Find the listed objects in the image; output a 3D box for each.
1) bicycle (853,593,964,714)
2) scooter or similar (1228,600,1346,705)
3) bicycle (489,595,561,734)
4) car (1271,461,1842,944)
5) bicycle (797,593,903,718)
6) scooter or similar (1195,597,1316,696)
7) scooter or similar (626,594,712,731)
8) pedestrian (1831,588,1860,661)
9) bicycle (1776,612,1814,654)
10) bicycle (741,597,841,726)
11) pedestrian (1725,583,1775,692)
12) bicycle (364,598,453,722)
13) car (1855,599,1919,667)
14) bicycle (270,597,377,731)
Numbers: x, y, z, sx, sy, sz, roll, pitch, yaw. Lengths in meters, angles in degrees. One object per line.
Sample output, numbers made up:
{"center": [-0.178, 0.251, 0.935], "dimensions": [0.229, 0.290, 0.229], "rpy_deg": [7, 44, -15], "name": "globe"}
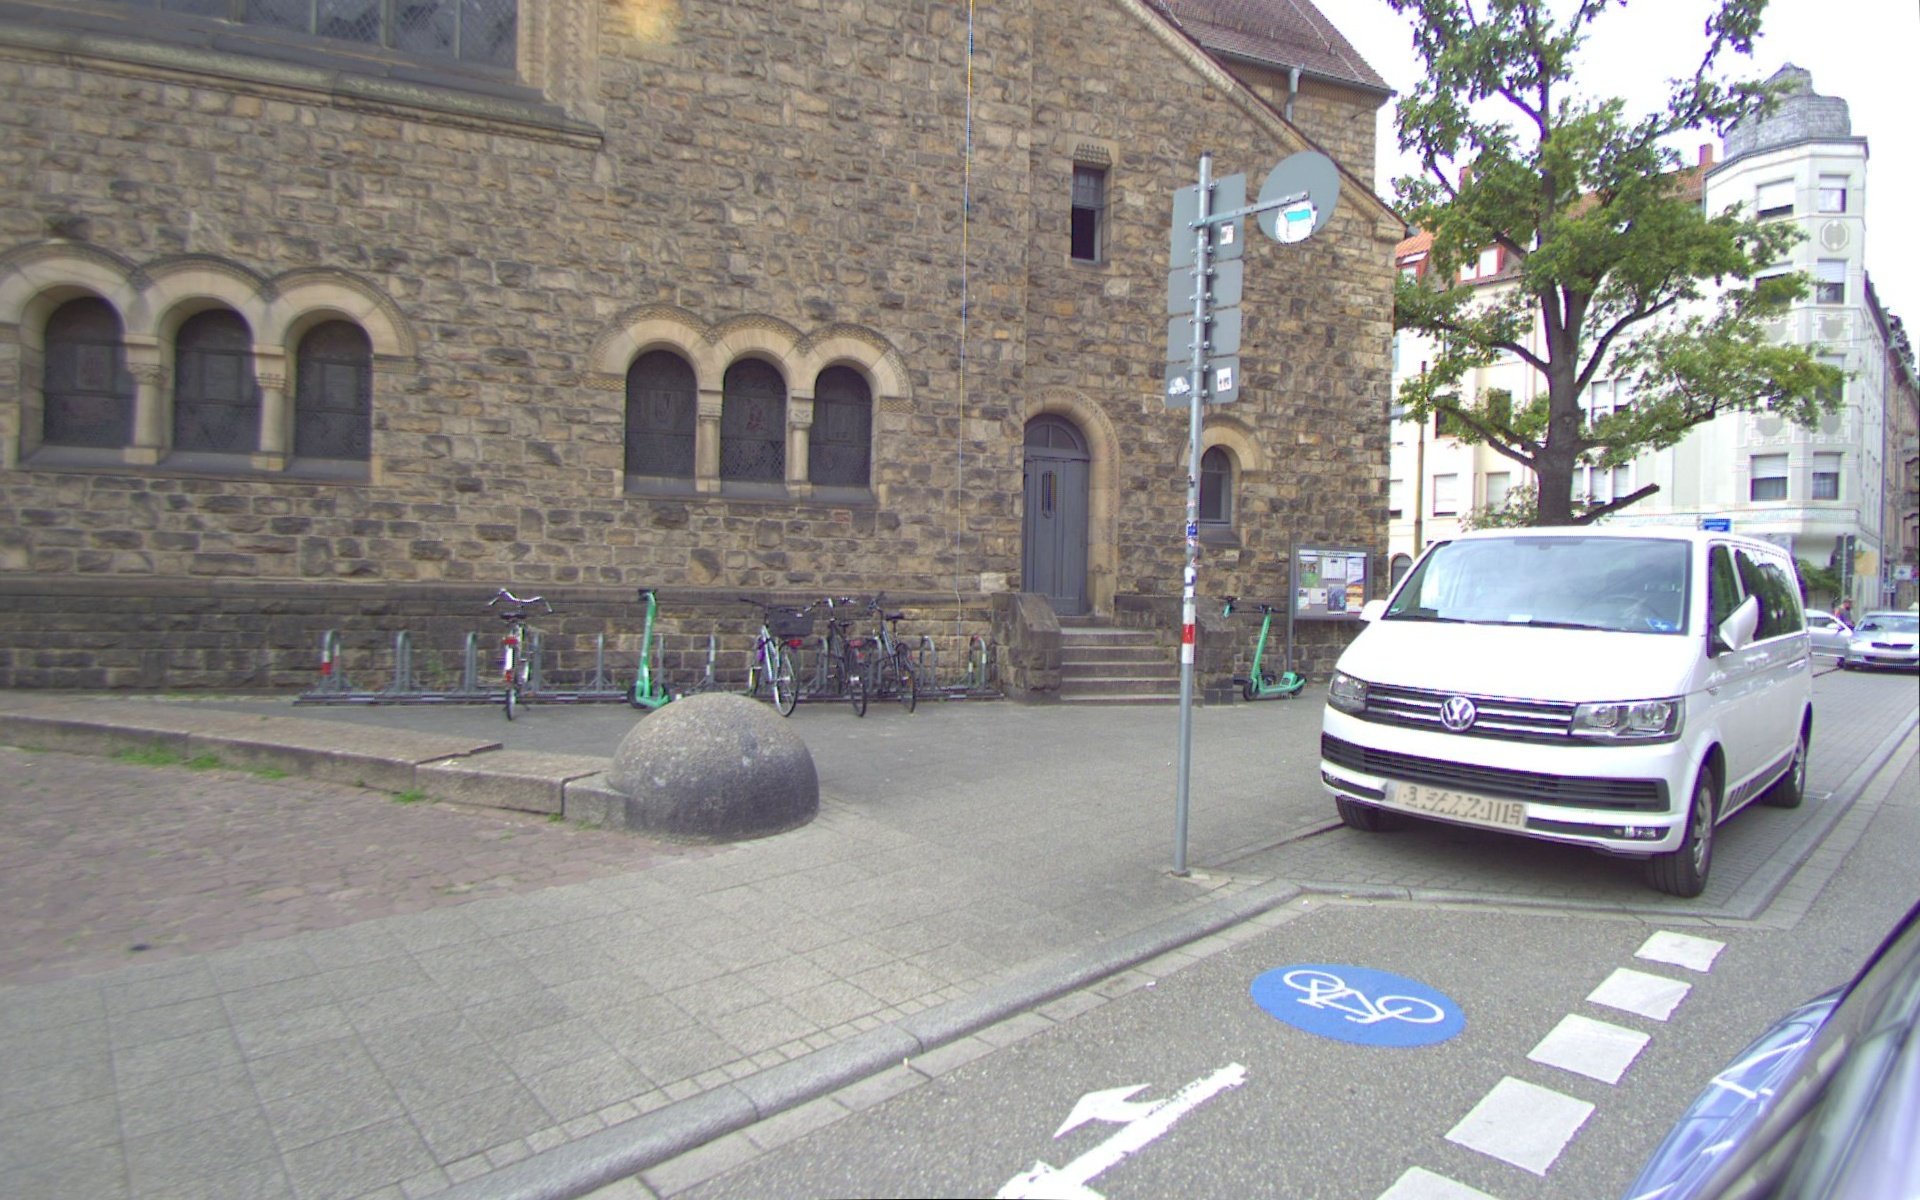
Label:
{"center": [-0.583, 0.512, 10.621], "dimensions": [0.534, 1.126, 1.786], "rpy_deg": [1, 1, -24], "name": "bicycle"}
{"center": [4.032, 0.625, 12.457], "dimensions": [1.413, 1.222, 0.547], "rpy_deg": [1, 1, -30], "name": "scooter or similar"}
{"center": [-4.061, 0.541, 9.431], "dimensions": [0.534, 1.126, 1.786], "rpy_deg": [1, 1, -24], "name": "bicycle"}
{"center": [4.290, 0.389, 6.788], "dimensions": [5.039, 2.054, 2.016], "rpy_deg": [0, 2, -45], "name": "car"}
{"center": [-1.159, 0.516, 10.349], "dimensions": [0.534, 1.126, 1.779], "rpy_deg": [1, 1, -24], "name": "bicycle"}
{"center": [3.832, 0.590, 13.112], "dimensions": [1.450, 1.222, 0.547], "rpy_deg": [1, 0, -23], "name": "scooter or similar"}
{"center": [-2.827, 0.541, 9.726], "dimensions": [0.534, 1.154, 1.786], "rpy_deg": [1, 1, -24], "name": "scooter or similar"}
{"center": [21.827, 0.589, 24.935], "dimensions": [0.403, 1.757, 0.468], "rpy_deg": [1, 0, -43], "name": "pedestrian"}
{"center": [23.194, 0.909, 28.099], "dimensions": [1.944, 1.119, 0.522], "rpy_deg": [2, 0, -42], "name": "bicycle"}
{"center": [-1.722, 0.561, 10.124], "dimensions": [0.534, 1.126, 1.786], "rpy_deg": [1, 1, -24], "name": "bicycle"}
{"center": [12.897, 0.595, 16.535], "dimensions": [0.504, 1.741, 0.527], "rpy_deg": [1, 0, 25], "name": "pedestrian"}
{"center": [-4.962, 0.492, 9.177], "dimensions": [0.534, 0.969, 1.786], "rpy_deg": [1, 1, -24], "name": "bicycle"}
{"center": [22.708, 0.767, 24.110], "dimensions": [4.345, 1.487, 1.756], "rpy_deg": [1, 1, -44], "name": "car"}
{"center": [-5.591, 0.514, 8.964], "dimensions": [0.534, 0.969, 1.787], "rpy_deg": [1, 3, -24], "name": "bicycle"}
